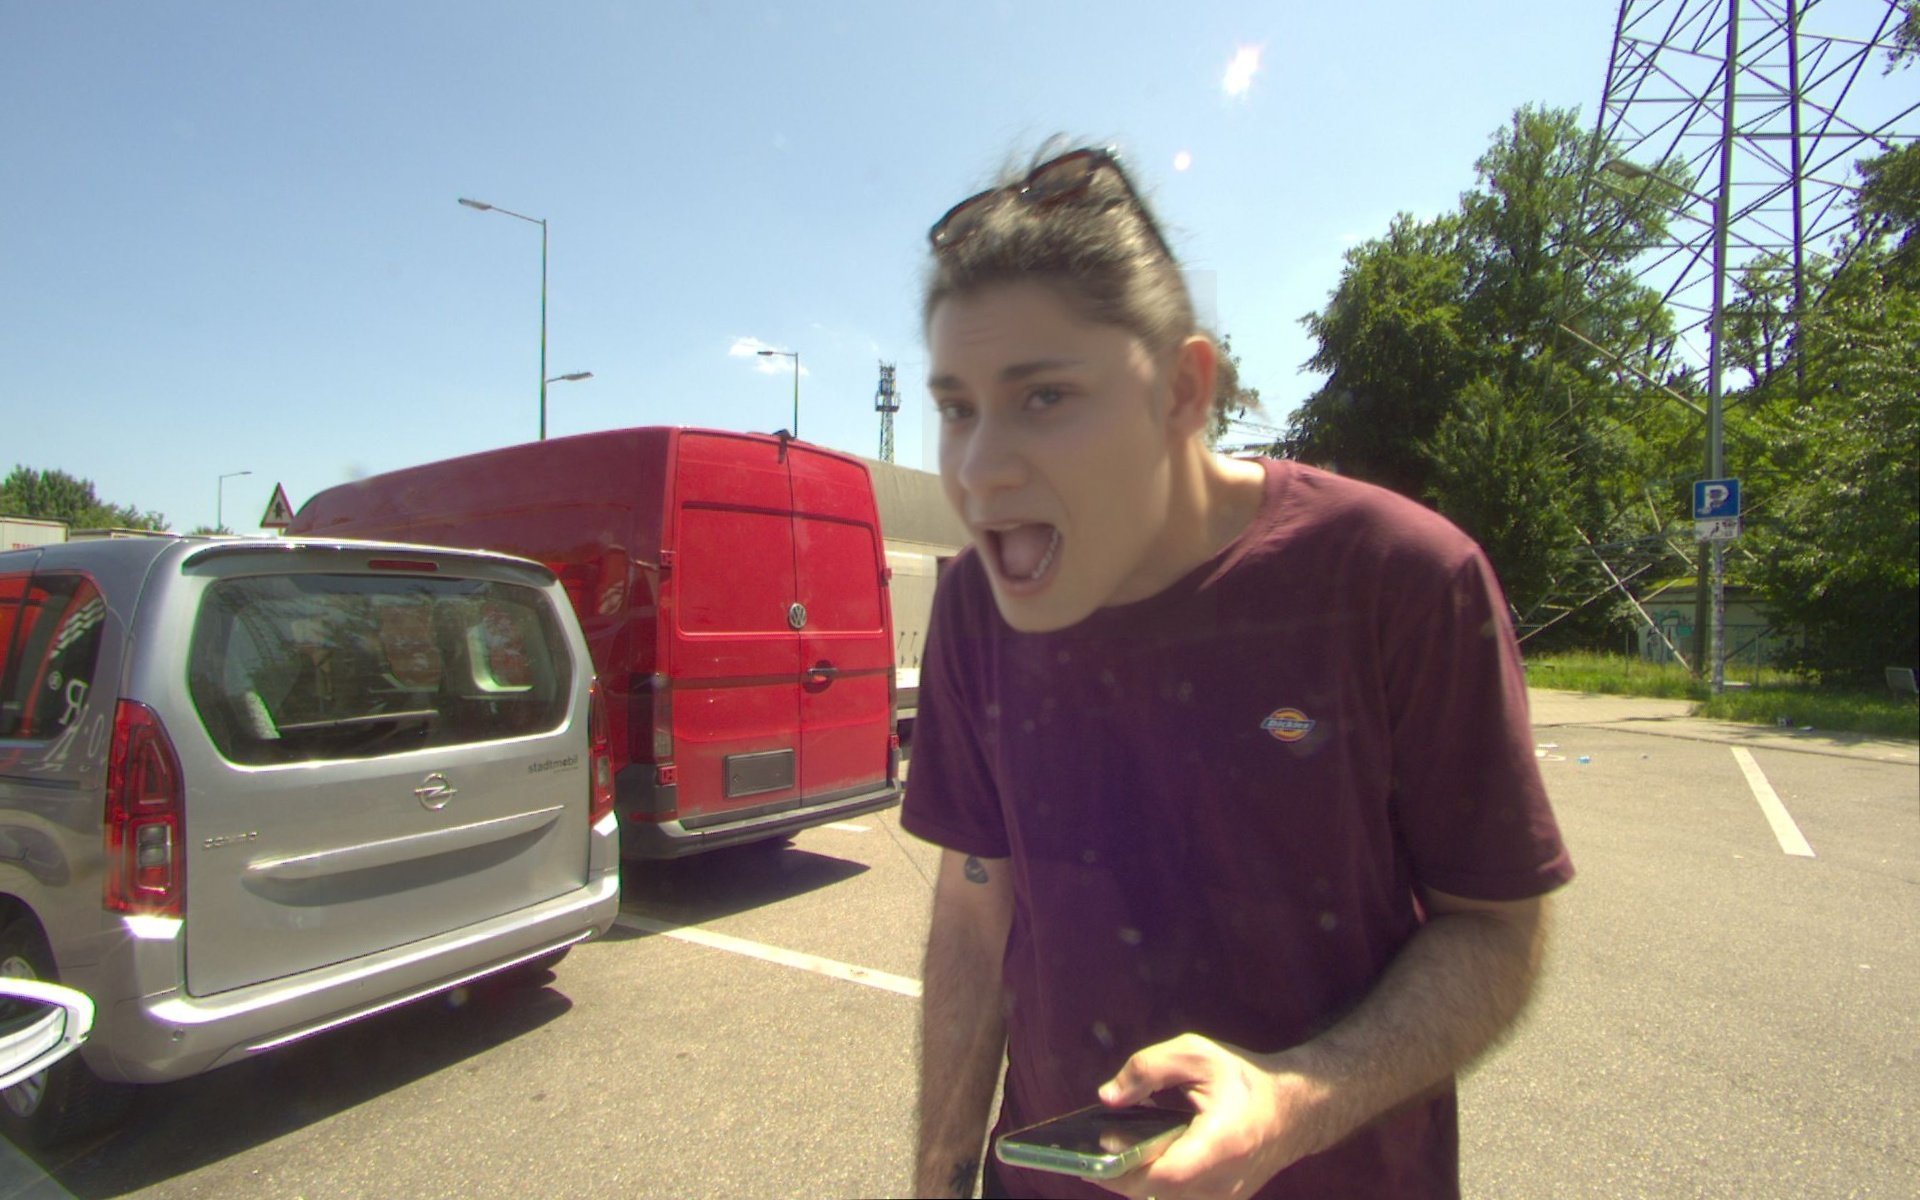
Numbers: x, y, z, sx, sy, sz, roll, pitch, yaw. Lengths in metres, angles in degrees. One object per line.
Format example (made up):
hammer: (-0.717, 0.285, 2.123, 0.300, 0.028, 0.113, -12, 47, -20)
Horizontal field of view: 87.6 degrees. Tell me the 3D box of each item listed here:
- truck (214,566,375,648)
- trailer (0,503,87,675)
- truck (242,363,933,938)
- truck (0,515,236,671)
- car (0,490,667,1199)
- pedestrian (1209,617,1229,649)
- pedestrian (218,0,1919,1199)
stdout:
truck: (-30.716, 0.318, 46.076, 8.407, 3.482, 3.019, 0, -1, 33)
trailer: (-28.802, -0.291, 28.034, 13.374, 4.178, 2.871, 0, -1, 33)
truck: (-2.867, 0.258, 7.003, 5.233, 2.658, 1.987, 0, -1, 37)
truck: (-27.997, -0.132, 31.788, 14.316, 4.175, 2.901, 0, -3, 33)
car: (-3.353, 0.633, 4.218, 3.938, 1.776, 1.824, 0, -1, 29)
pedestrian: (11.366, 1.451, 44.014, 0.579, 1.402, 0.754, 1, 0, -8)
pedestrian: (0.115, 0.469, 0.799, 0.926, 1.798, 0.827, 1, -1, 28)
